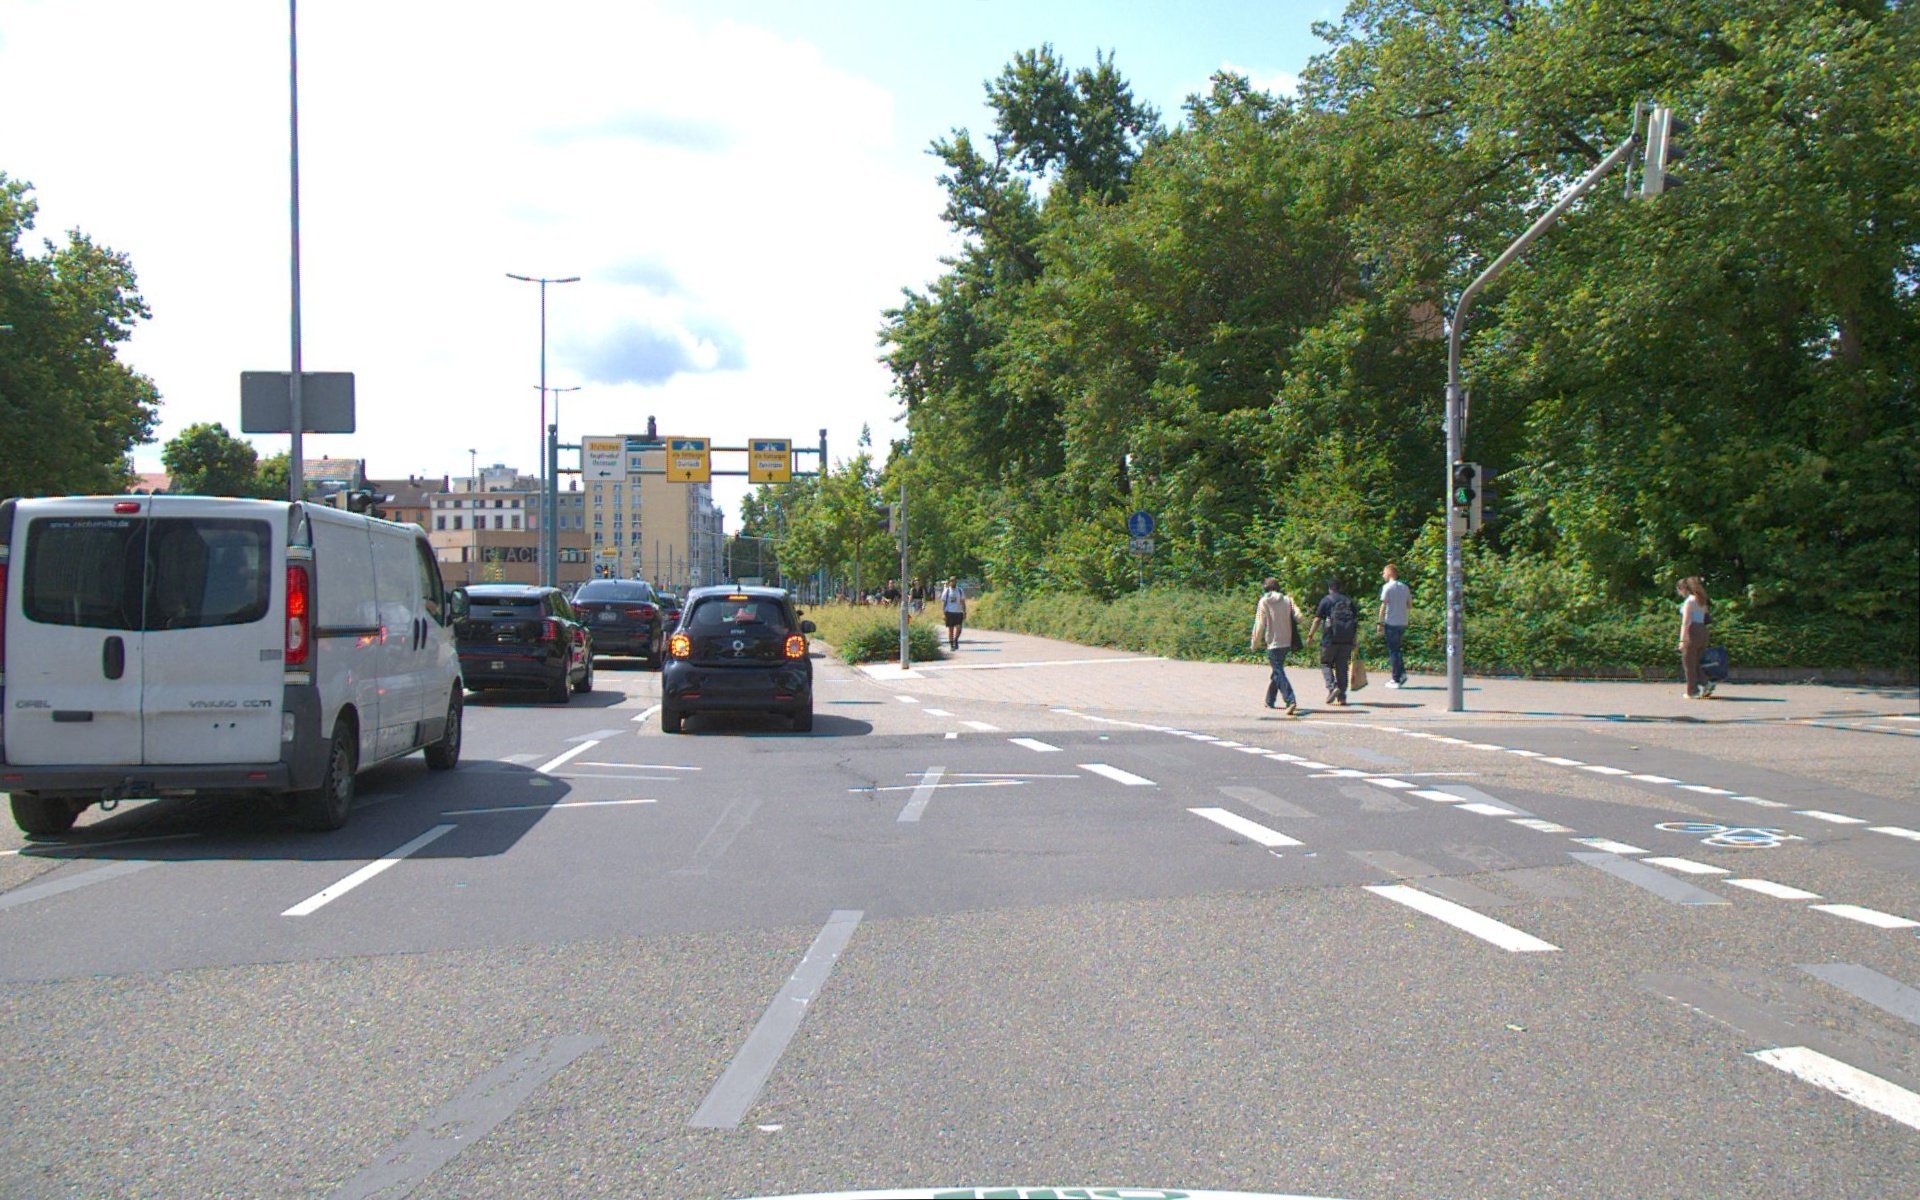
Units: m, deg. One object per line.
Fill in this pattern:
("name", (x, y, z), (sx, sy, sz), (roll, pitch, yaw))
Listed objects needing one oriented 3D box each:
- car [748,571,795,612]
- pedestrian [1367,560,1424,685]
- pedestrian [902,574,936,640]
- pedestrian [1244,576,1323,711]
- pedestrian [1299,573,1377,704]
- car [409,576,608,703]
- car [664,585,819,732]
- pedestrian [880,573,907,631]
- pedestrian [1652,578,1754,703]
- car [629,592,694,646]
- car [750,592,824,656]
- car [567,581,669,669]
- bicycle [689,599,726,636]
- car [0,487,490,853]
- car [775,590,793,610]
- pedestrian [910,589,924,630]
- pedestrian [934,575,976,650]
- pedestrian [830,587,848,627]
("car", (-7.111, -0.329, 62.130), (1.581, 1.436, 3.510), (2, 0, -9))
("pedestrian", (6.539, 0.331, 24.854), (0.657, 1.852, 0.703), (0, 1, -1))
("pedestrian", (-1.194, 0.193, 47.969), (0.823, 1.901, 1.016), (0, 0, -11))
("pedestrian", (4.261, 0.553, 21.860), (0.779, 1.734, 1.182), (0, 1, -1))
("pedestrian", (5.144, 0.508, 22.569), (0.779, 1.734, 1.182), (0, 1, -1))
("car", (-6.240, 0.512, 23.433), (1.979, 1.557, 4.879), (2, 0, -7))
("car", (-2.532, 0.620, 18.902), (1.581, 1.511, 3.509), (1, -1, -9))
("pedestrian", (-2.308, 0.062, 57.395), (0.823, 2.003, 0.858), (0, 0, -11))
("pedestrian", (10.263, 0.535, 22.859), (0.847, 1.654, 1.008), (-2, 2, -34))
("car", (-7.784, 0.467, 43.348), (1.581, 1.348, 3.510), (0, 0, -9))
("car", (-4.228, 0.545, 40.018), (1.581, 1.436, 3.510), (2, 0, -9))
("car", (-6.857, 0.473, 33.484), (1.793, 1.629, 4.384), (1, 0, -9))
("bicycle", (-14.745, 1.019, 96.514), (1.958, 2.049, 3.989), (1, -1, -11))
("car", (-4.775, 0.385, 11.651), (1.968, 1.989, 5.186), (1, 0, -7))
("car", (-18.882, 0.016, 177.467), (1.906, 1.998, 3.945), (1, -1, -6))
("pedestrian", (-2.031, 0.440, 77.983), (0.494, 1.923, 0.557), (2, -1, -22))
("pedestrian", (-0.128, 0.294, 39.185), (0.835, 1.730, 0.929), (-2, 0, -9))
("pedestrian", (-6.128, 0.357, 83.982), (0.823, 2.003, 0.858), (0, 0, -11))
